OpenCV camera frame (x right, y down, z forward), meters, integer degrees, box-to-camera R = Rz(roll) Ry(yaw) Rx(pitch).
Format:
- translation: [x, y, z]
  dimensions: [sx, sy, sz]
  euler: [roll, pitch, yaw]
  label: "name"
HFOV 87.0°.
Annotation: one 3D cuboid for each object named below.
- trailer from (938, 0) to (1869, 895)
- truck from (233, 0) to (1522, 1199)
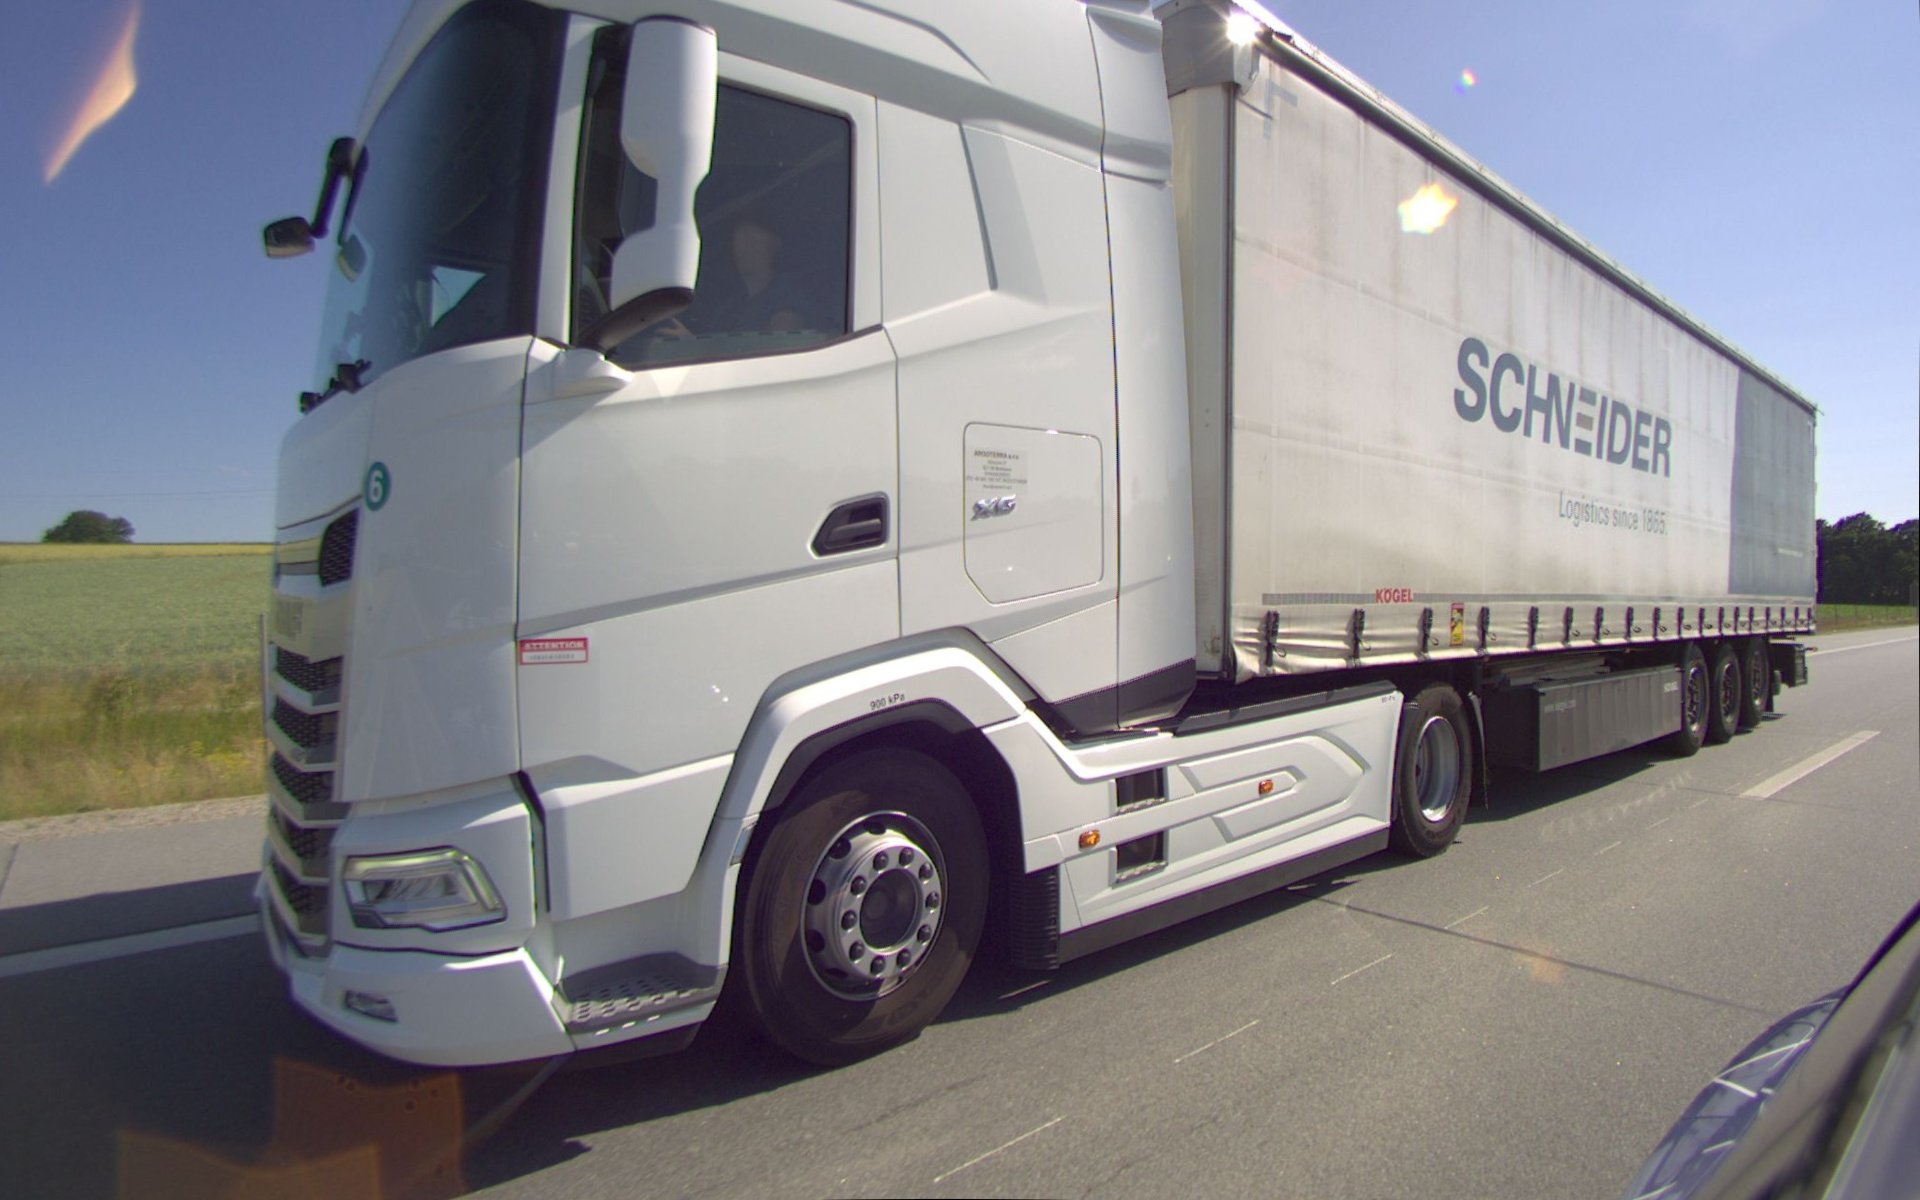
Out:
- translation: [6.603, -0.810, 11.114]
  dimensions: [15.190, 4.348, 3.182]
  euler: [0, 1, -41]
  label: "trailer"
- translation: [0.076, -0.510, 5.289]
  dimensions: [6.080, 4.065, 3.088]
  euler: [0, 0, -41]
  label: "truck"
